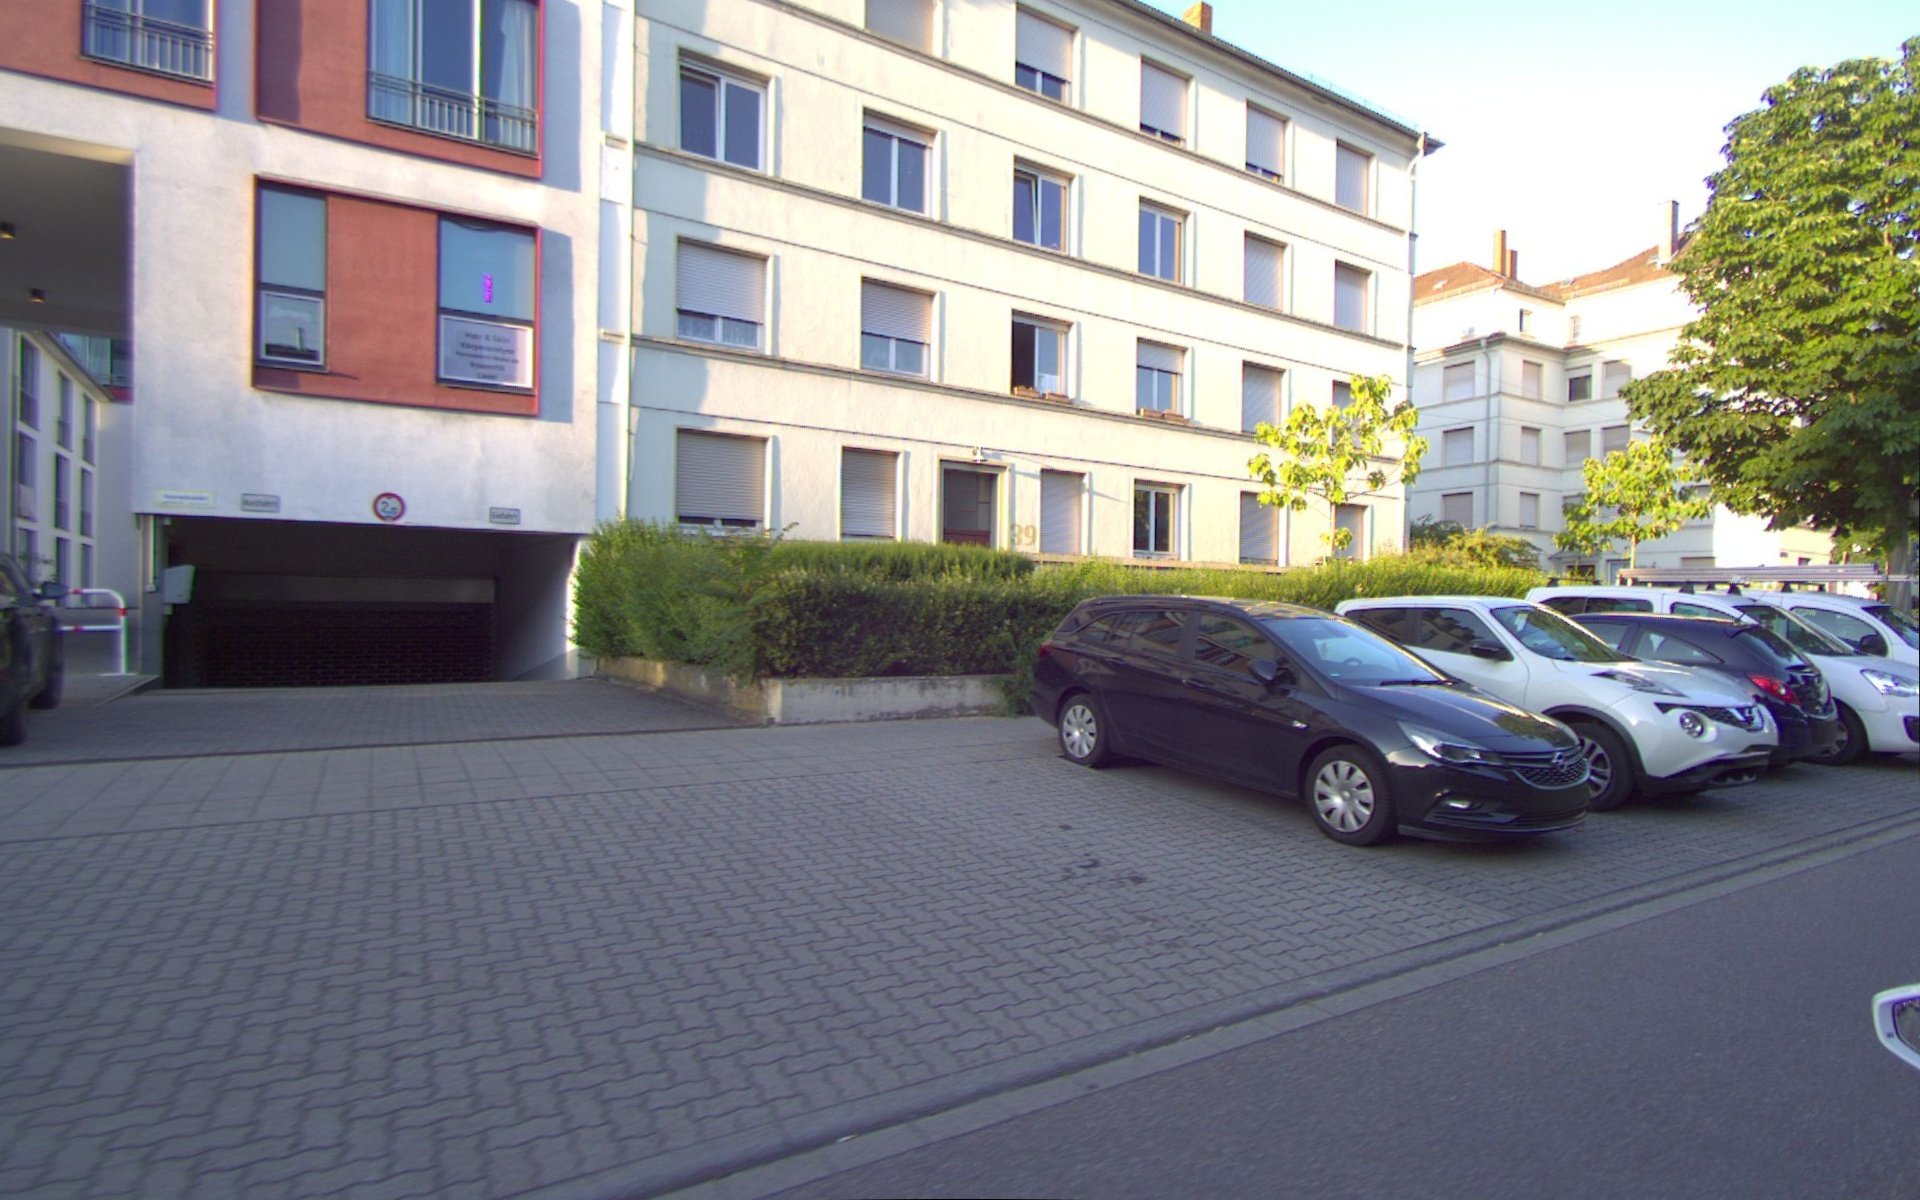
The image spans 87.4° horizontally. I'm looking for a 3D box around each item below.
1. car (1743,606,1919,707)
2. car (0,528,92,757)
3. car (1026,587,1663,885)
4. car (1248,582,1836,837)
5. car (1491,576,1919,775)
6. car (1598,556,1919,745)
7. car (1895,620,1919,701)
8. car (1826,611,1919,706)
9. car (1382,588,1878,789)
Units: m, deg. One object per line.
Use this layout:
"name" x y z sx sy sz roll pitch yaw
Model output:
"car" 15.286 0.918 15.781 1.829 1.424 4.306 1 1 -29
"car" -8.785 0.290 8.351 1.980 1.656 3.960 0 0 -35
"car" 2.552 0.741 7.811 1.807 1.471 4.383 1 2 -32
"car" 4.828 0.716 9.035 1.792 1.642 4.222 1 2 -30
"car" 8.888 0.680 11.721 1.919 1.826 4.402 1 2 -28
"car" 11.203 0.539 13.041 1.975 2.098 4.494 0 3 -27
"car" 19.549 1.175 18.056 1.669 1.526 3.697 1 0 -29
"car" 17.496 1.027 16.995 1.708 1.604 3.969 1 0 -29
"car" 6.804 0.748 10.662 1.736 1.504 3.965 1 3 -31
